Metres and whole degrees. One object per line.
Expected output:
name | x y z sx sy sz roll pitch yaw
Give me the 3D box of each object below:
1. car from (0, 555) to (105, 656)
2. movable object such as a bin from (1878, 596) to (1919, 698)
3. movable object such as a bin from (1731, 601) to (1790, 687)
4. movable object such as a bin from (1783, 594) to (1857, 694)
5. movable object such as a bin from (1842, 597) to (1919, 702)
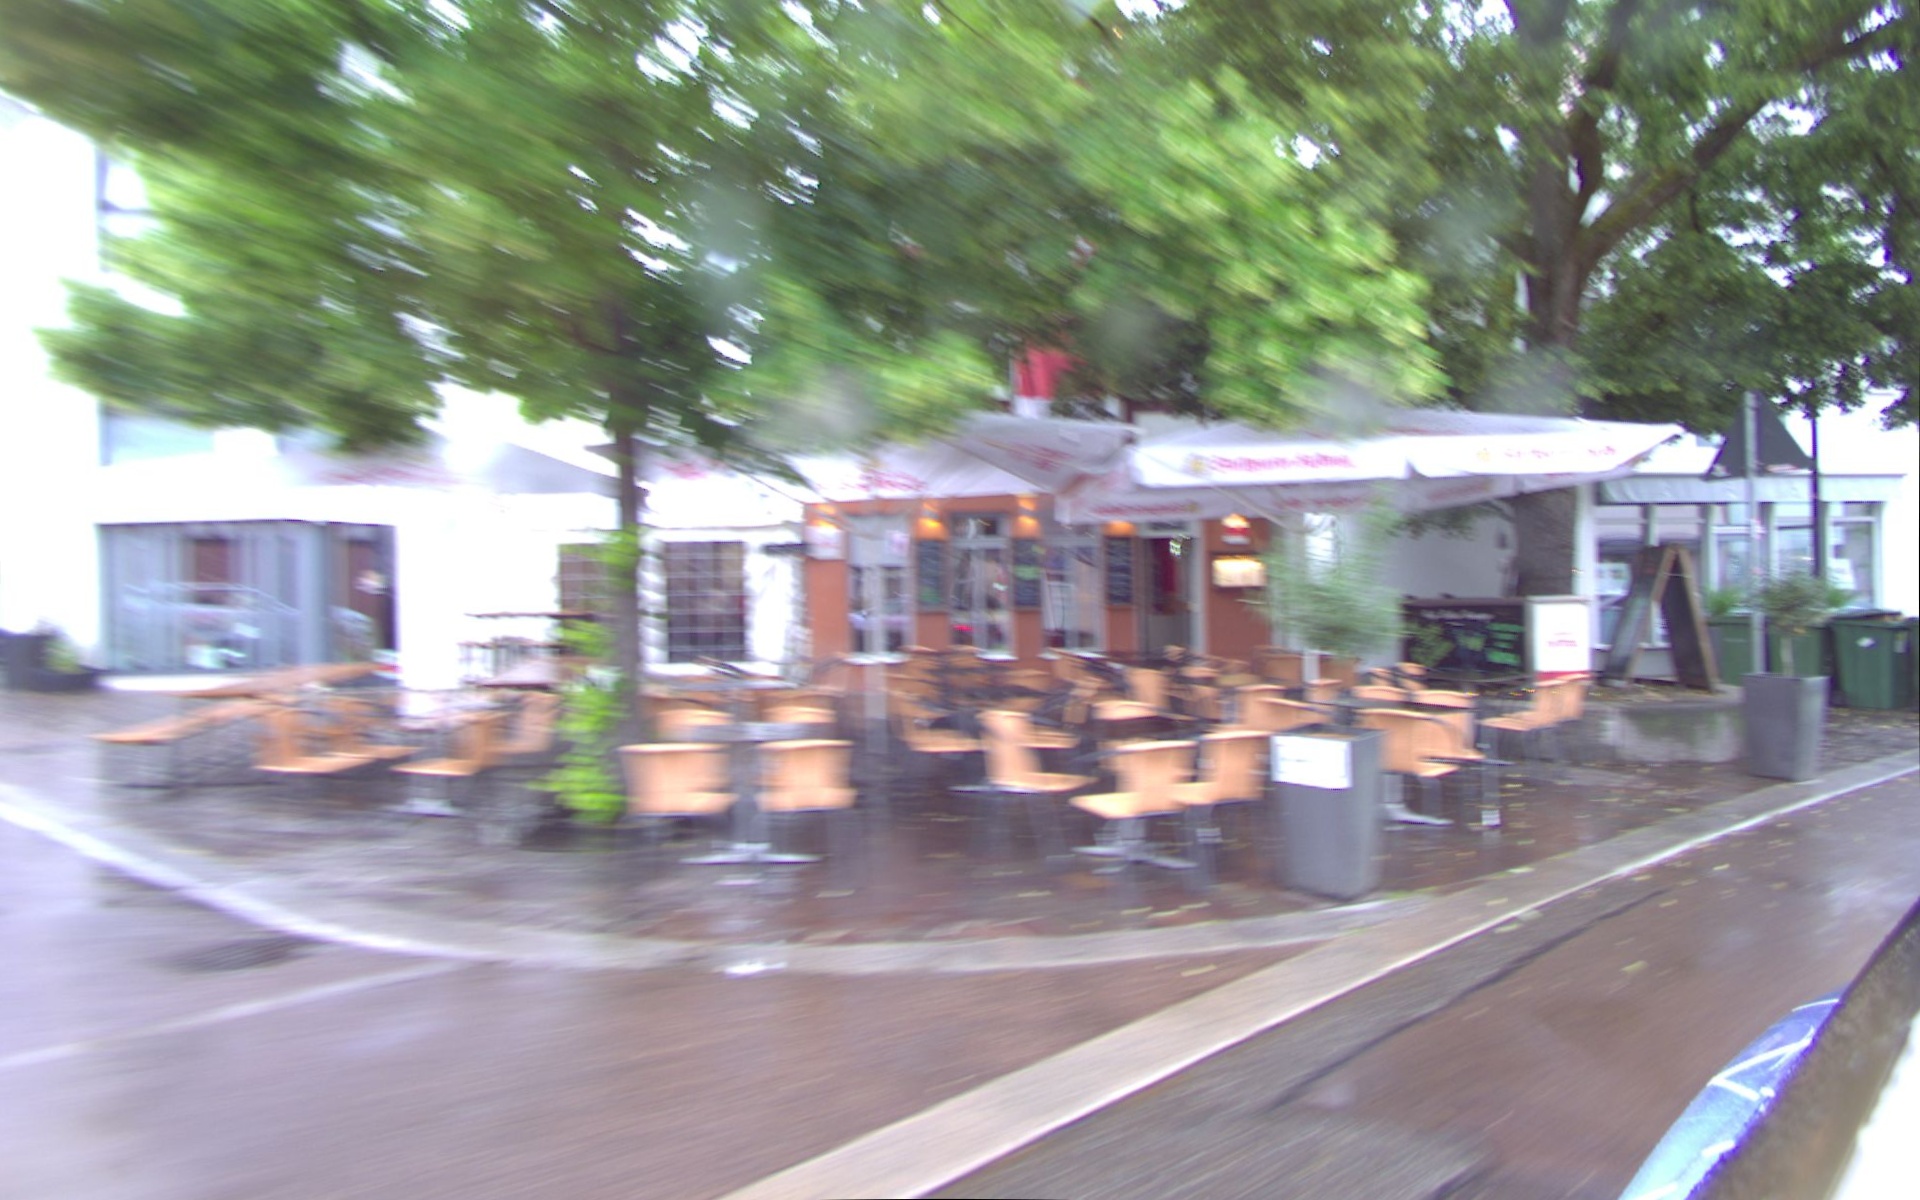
car | -17.852 0.111 18.051 1.603 1.793 3.715 0 2 15
movable object such as a bin | 11.312 0.549 11.969 0.490 1.163 0.533 -1 1 -27
movable object such as a bin | 10.261 0.548 12.969 0.490 1.060 0.432 -1 1 -27
movable object such as a bin | 10.439 0.521 12.289 0.569 1.163 0.506 -1 1 -27
movable object such as a bin | 10.719 0.554 11.753 0.573 1.163 0.547 -1 1 -27
